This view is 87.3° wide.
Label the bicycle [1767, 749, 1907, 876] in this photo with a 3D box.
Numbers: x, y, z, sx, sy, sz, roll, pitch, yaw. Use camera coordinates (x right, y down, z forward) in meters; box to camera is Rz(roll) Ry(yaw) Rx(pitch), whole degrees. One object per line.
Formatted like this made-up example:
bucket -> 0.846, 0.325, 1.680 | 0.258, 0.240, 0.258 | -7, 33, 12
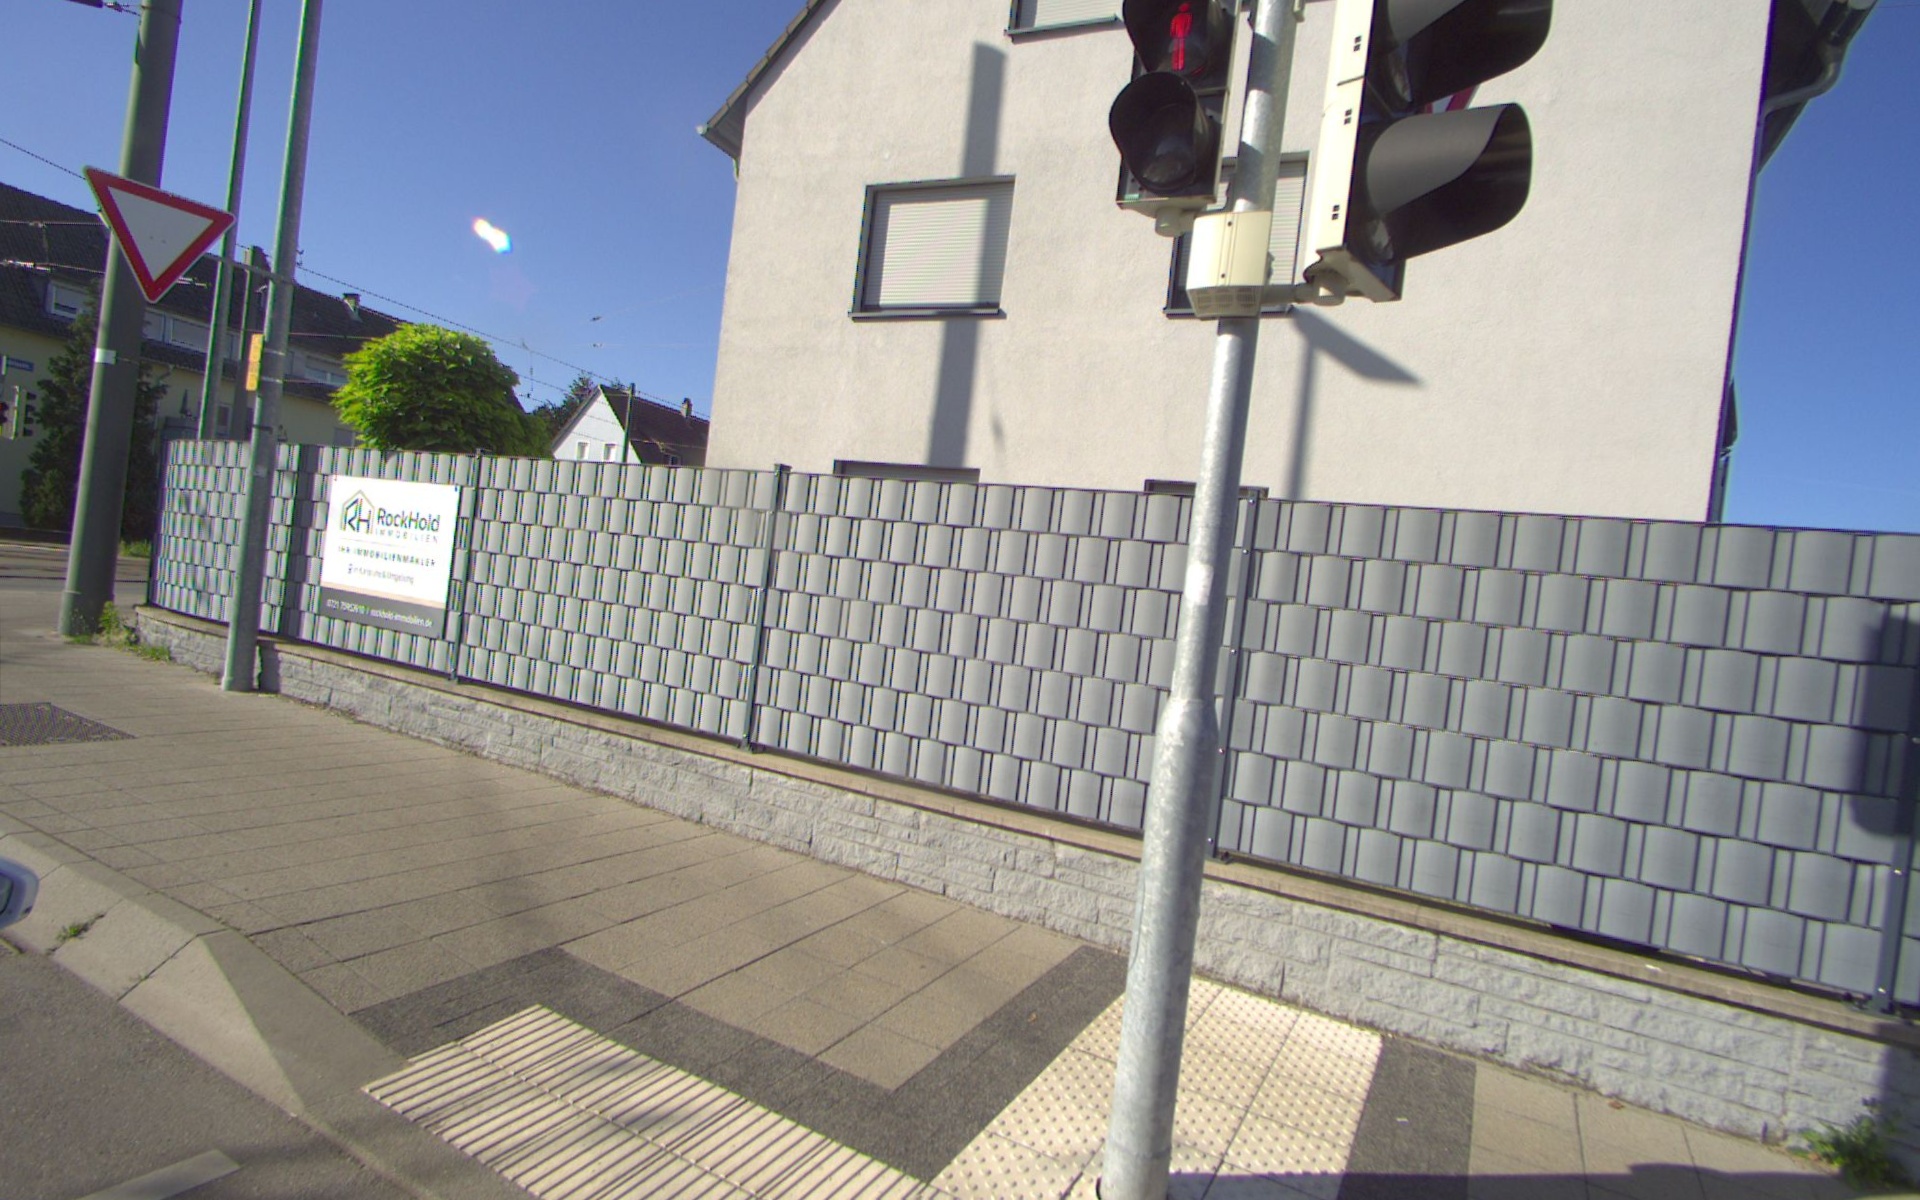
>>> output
bicycle -> 9.321, 2.215, 10.765 | 0.426, 1.073, 1.818 | 7, -2, 21
